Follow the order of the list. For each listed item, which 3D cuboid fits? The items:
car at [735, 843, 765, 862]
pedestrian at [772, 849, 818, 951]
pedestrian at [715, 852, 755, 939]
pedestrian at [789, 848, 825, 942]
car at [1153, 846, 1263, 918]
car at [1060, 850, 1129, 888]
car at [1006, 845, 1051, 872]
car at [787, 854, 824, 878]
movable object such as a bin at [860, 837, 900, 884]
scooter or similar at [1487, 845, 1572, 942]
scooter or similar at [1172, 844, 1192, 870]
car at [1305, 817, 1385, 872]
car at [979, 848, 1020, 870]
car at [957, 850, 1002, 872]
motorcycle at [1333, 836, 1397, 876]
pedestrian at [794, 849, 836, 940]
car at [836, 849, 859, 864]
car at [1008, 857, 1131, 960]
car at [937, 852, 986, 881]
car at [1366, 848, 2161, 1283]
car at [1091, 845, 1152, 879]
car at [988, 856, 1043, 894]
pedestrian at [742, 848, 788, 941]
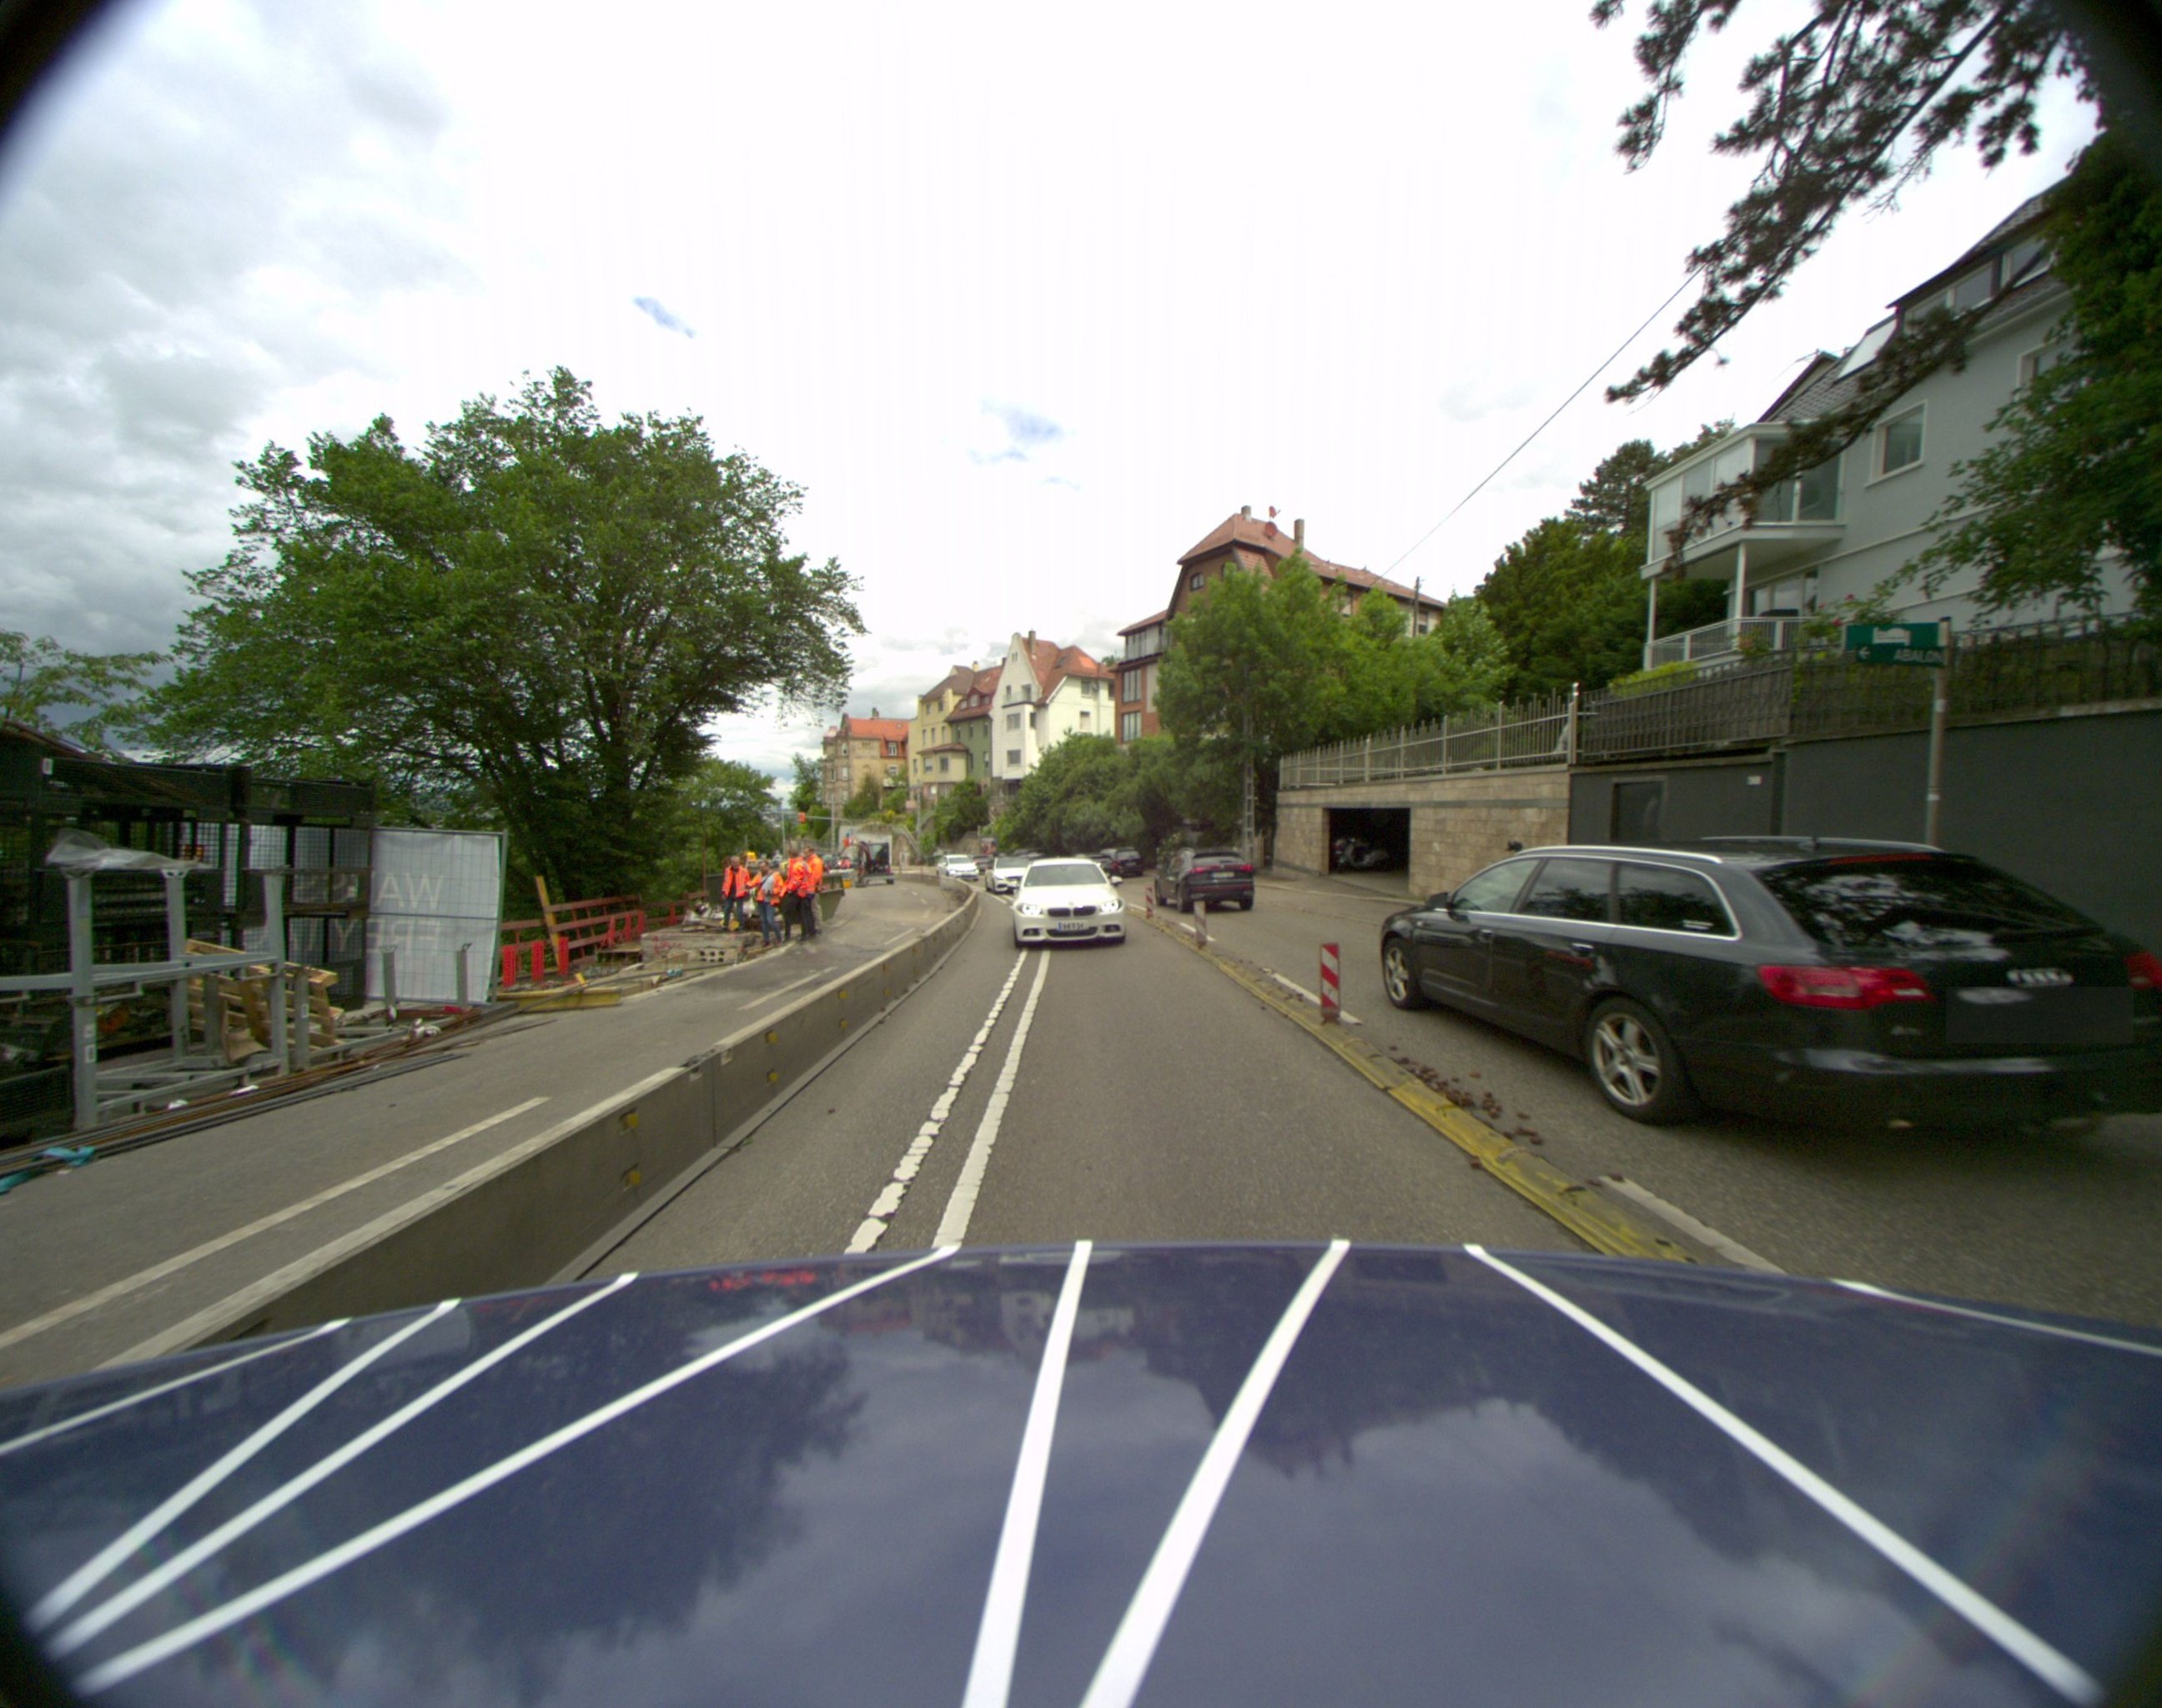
[{"bbox_3d":[-38.415,-0.136,88.174,2.004,2.089,4.059,-3,1,-40],"label":"car"},{"bbox_3d":[-5.362,0.846,14.273,0.640,1.848,0.834,1,1,-11],"label":"pedestrian"},{"bbox_3d":[-7.438,0.874,16.328,0.647,1.784,0.642,-4,2,-25],"label":"pedestrian"},{"bbox_3d":[-5.467,0.797,15.202,0.527,1.832,0.796,1,1,-11],"label":"pedestrian"},{"bbox_3d":[3.032,0.612,18.948,1.763,1.520,3.908,-3,1,-5],"label":"car"},{"bbox_3d":[0.490,0.599,32.856,1.870,1.446,4.213,-3,1,-15],"label":"car"},{"bbox_3d":[-3.646,0.302,52.578,1.771,1.587,3.784,-7,3,-24],"label":"car"},{"bbox_3d":[-20.846,0.907,57.436,1.796,1.676,3.990,-3,1,-32],"label":"car"},{"bbox_3d":[-11.894,0.382,44.845,1.866,2.580,3.434,-3,1,-19],"label":"movable object such as a bin"},{"bbox_3d":[6.191,0.517,10.470,1.217,1.225,0.493,-3,2,-33],"label":"scooter or similar"},{"bbox_3d":[5.056,0.133,37.899,0.406,1.250,0.962,-7,3,-27],"label":"scooter or similar"},{"bbox_3d":[9.191,-0.381,26.704,1.572,1.596,3.584,-3,5,0],"label":"car"},{"bbox_3d":[-6.219,0.380,57.857,1.685,1.409,3.783,-7,3,-27],"label":"car"},{"bbox_3d":[-7.375,0.517,55.078,1.803,1.462,4.191,-3,1,-28],"label":"car"},{"bbox_3d":[9.152,0.050,24.529,1.842,1.177,0.636,-2,6,3],"label":"motorcycle"},{"bbox_3d":[-5.627,0.844,16.091,0.620,1.873,0.717,1,-2,-40],"label":"pedestrian"},{"bbox_3d":[-25.629,0.300,83.207,1.694,1.499,3.655,-3,1,-27],"label":"car"},{"bbox_3d":[-0.298,0.859,14.270,1.853,1.458,4.876,-2,1,-3],"label":"car"},{"bbox_3d":[-7.122,0.698,44.973,1.889,1.569,3.992,-3,1,-23],"label":"car"},{"bbox_3d":[3.642,0.728,4.931,1.796,1.456,4.508,-2,1,-1],"label":"car"},{"bbox_3d":[1.978,0.369,38.230,1.825,1.426,3.710,-6,2,-16],"label":"car"},{"bbox_3d":[-2.683,0.804,30.501,1.799,1.299,4.096,-1,1,-11],"label":"car"},{"bbox_3d":[-6.676,0.839,16.085,0.732,1.880,0.618,-4,0,-18],"label":"pedestrian"}]
